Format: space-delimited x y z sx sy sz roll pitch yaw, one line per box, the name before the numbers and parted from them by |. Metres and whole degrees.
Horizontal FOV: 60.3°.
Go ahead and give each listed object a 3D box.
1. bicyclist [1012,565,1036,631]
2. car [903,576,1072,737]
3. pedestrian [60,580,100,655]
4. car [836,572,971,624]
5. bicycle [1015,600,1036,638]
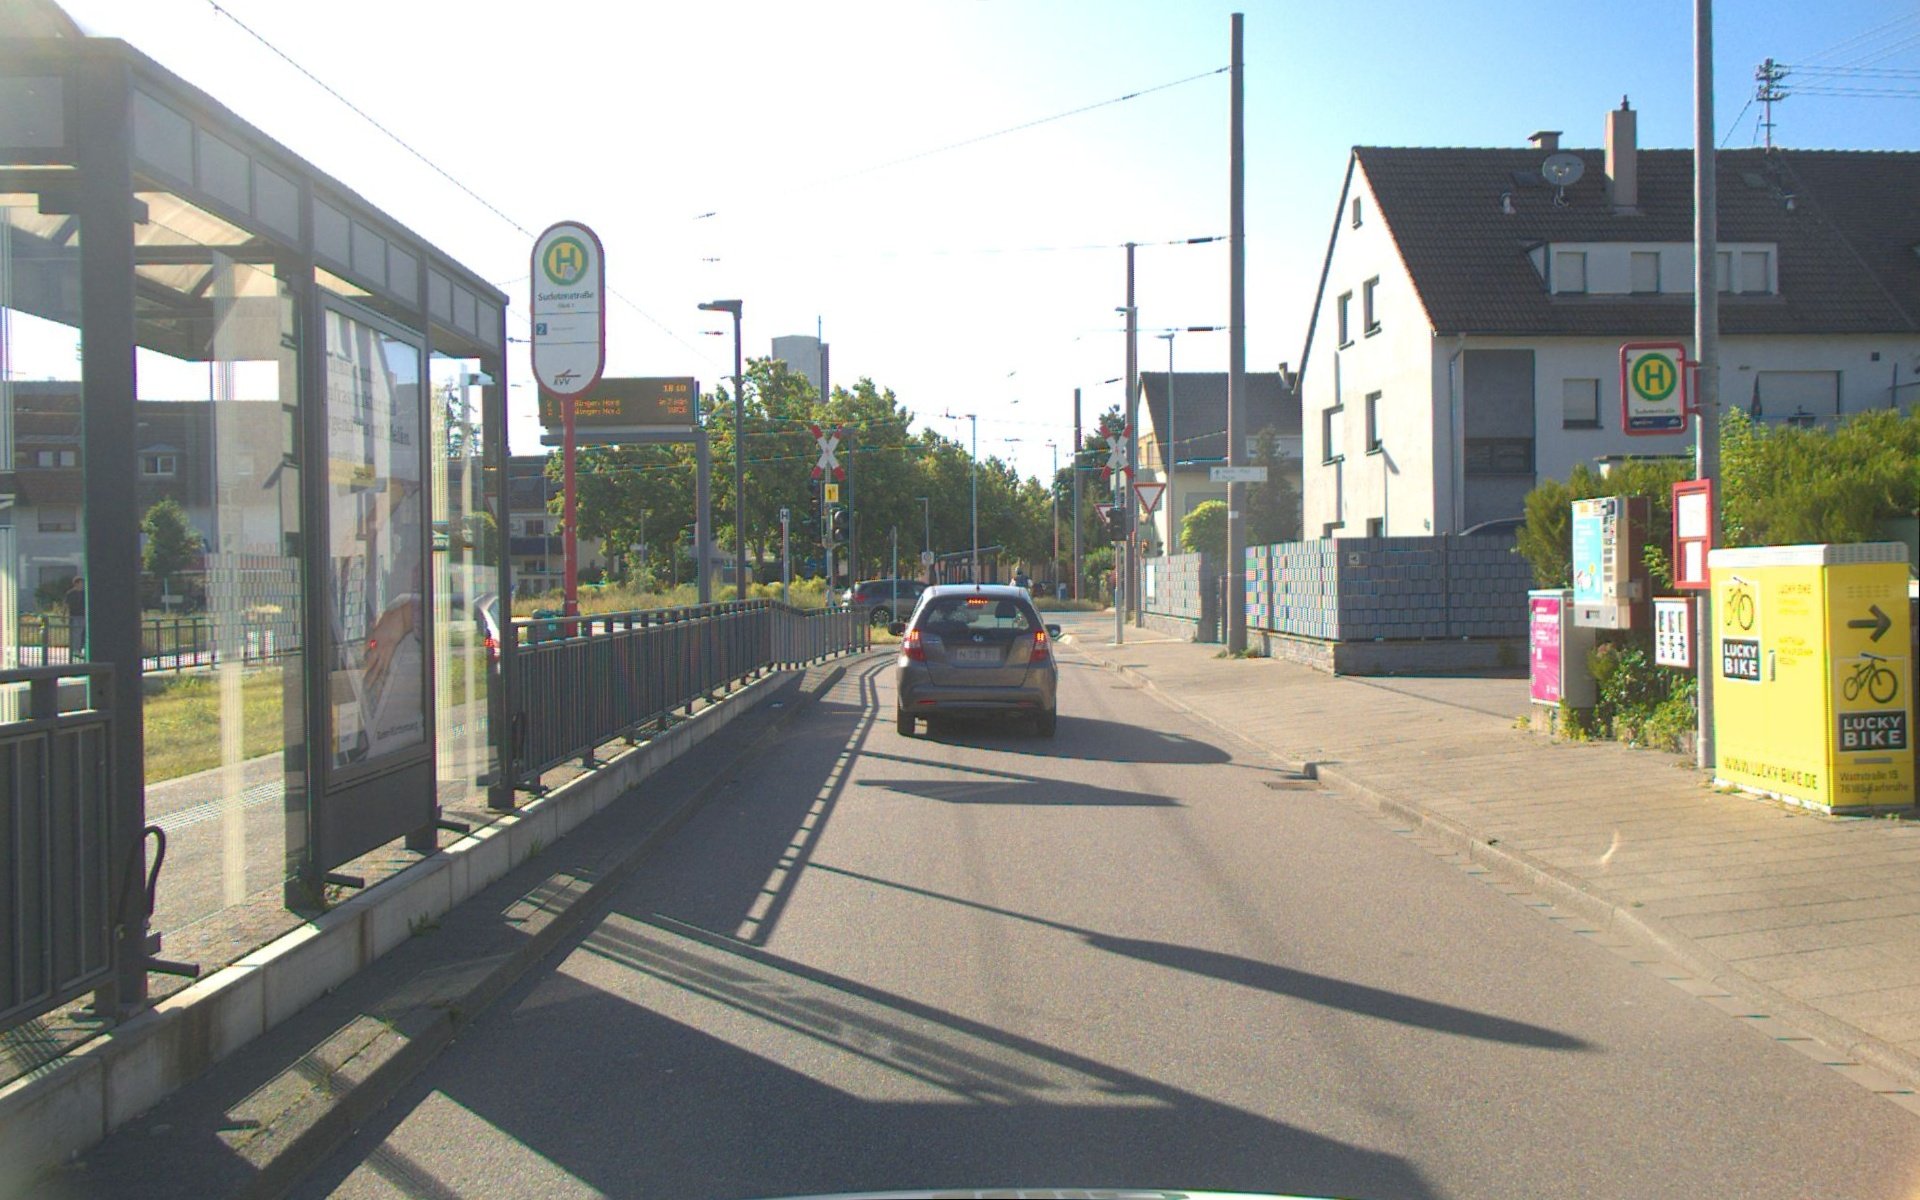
bicyclist | 1.715 -0.057 44.280 0.586 1.731 0.683 1 0 -1
car | 0.228 0.539 17.957 1.636 1.562 3.486 1 0 -2
pedestrian | -20.749 0.404 39.002 0.581 1.763 0.689 -1 0 -3
car | -1.795 -0.058 52.334 3.928 1.556 1.797 1 0 -20
bicycle | 1.755 0.500 44.425 0.465 0.978 1.657 1 0 0
